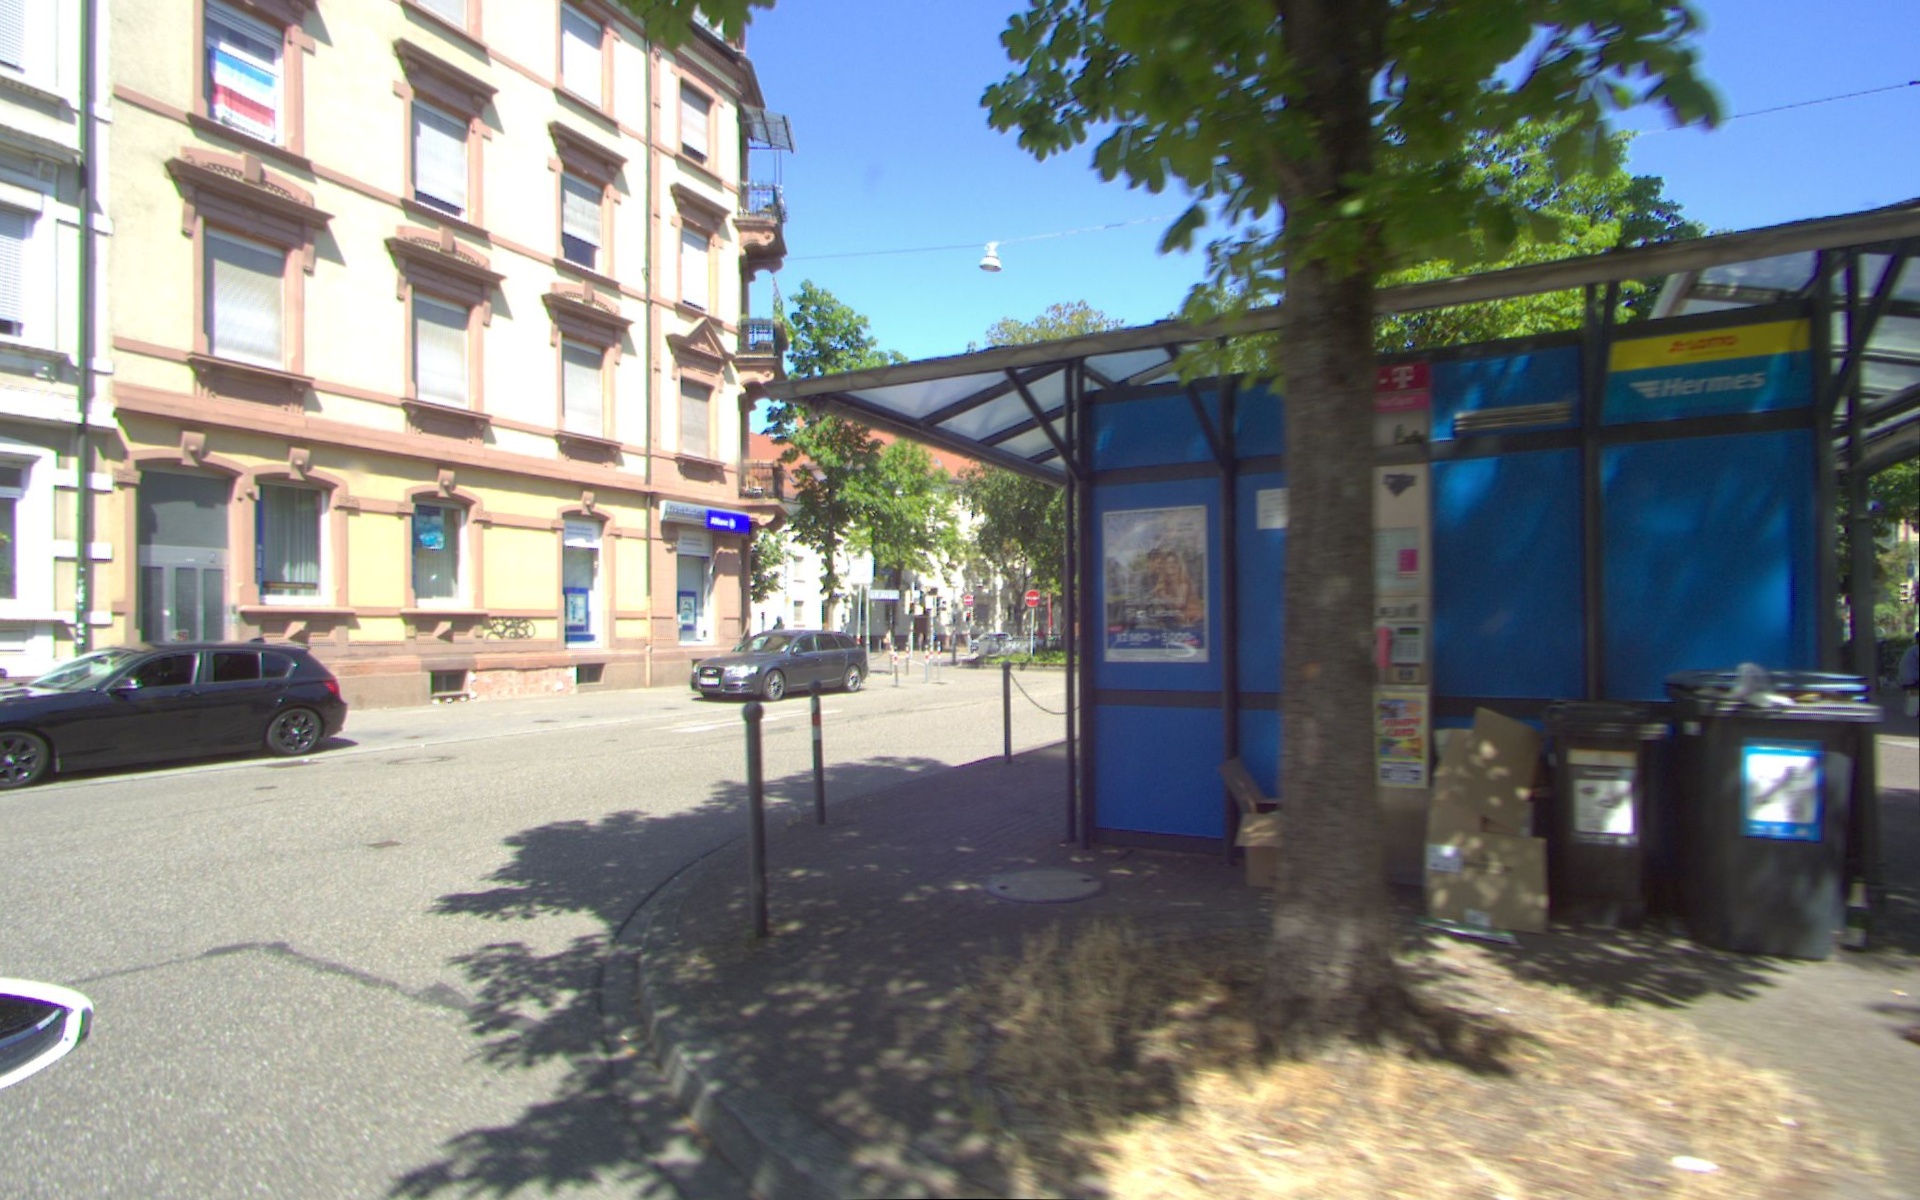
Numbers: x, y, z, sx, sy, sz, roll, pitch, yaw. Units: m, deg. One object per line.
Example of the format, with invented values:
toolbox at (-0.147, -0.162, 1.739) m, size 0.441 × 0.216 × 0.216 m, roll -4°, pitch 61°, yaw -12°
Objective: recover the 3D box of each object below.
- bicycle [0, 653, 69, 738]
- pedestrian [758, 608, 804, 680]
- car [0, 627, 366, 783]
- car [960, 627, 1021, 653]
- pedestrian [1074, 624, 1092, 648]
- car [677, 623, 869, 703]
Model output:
bicycle at (-12.677, 1.247, 12.740) m, size 0.417 × 1.035 × 2.004 m, roll 2°, pitch 1°, yaw 26°
pedestrian at (-5.302, 1.281, 29.635) m, size 1.036 × 2.040 × 1.226 m, roll -1°, pitch 0°, yaw -25°
car at (-9.421, 1.069, 11.397) m, size 1.778 × 1.388 × 4.290 m, roll 2°, pitch 0°, yaw 28°
car at (2.170, 2.769, 69.572) m, size 3.956 × 1.643 × 1.967 m, roll 0°, pitch -1°, yaw -41°
pedestrian at (9.194, 2.693, 74.992) m, size 0.960 × 1.750 × 0.906 m, roll -1°, pitch 0°, yaw -27°
car at (-3.932, 1.284, 21.846) m, size 1.779 × 1.474 × 4.418 m, roll 0°, pitch 0°, yaw 28°
